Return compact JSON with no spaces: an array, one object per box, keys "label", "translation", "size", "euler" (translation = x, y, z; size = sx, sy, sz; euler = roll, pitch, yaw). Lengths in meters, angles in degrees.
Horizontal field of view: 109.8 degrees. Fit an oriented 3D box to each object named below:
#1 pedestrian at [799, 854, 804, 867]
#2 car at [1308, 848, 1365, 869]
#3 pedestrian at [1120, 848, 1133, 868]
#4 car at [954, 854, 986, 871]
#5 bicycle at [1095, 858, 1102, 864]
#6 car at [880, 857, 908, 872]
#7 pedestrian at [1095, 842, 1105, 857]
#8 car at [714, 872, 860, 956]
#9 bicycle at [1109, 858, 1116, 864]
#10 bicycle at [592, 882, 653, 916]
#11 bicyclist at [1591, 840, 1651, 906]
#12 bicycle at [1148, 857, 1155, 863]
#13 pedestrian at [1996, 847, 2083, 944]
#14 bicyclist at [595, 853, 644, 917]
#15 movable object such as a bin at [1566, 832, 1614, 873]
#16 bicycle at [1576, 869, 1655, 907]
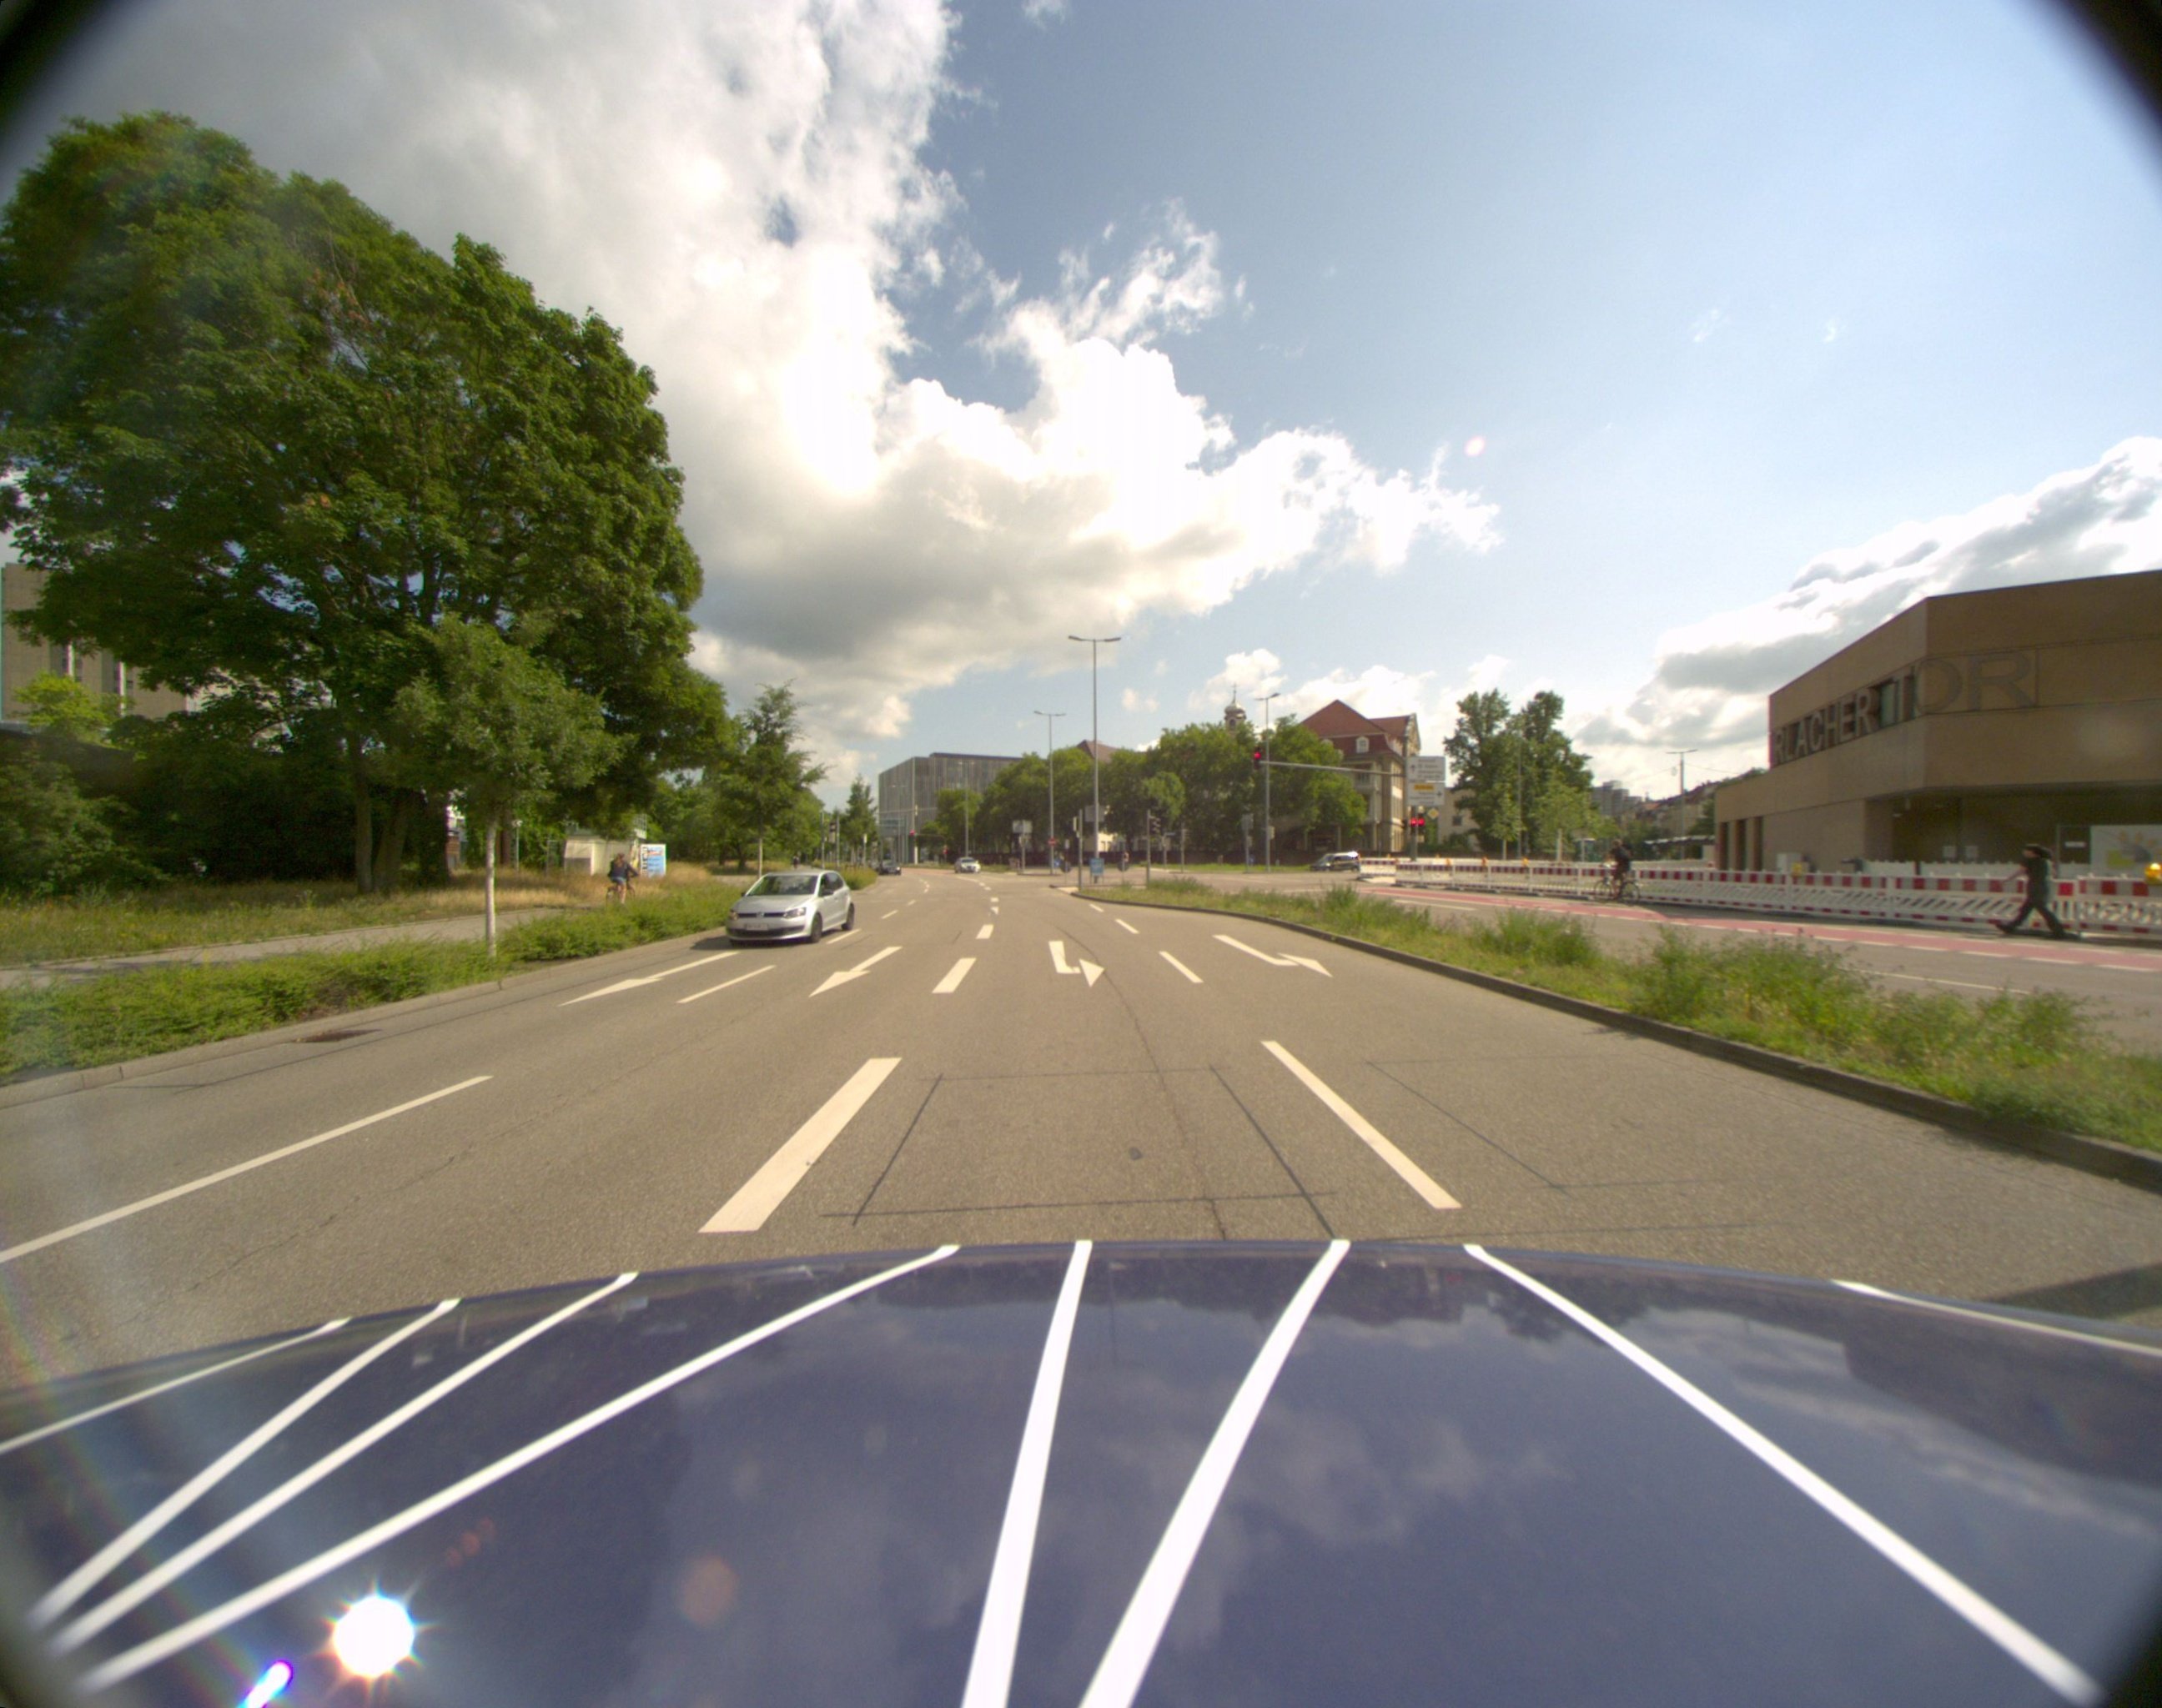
[{"label":"pedestrian","translation":[-33.997,0.825,92.347],"size":[0.543,1.597,0.523],"euler":[0,-2,-29]},{"label":"car","translation":[22.317,0.395,66.424],"size":[4.677,1.774,1.851],"euler":[0,-1,-23]},{"label":"pedestrian","translation":[4.490,0.401,74.894],"size":[0.697,1.846,1.183],"euler":[-2,-1,31]},{"label":"car","translation":[-10.677,0.767,72.979],"size":[2.064,1.434,4.771],"euler":[-2,1,-20]},{"label":"bicycle","translation":[2.551,1.004,112.957],"size":[0.481,0.843,0.975],"euler":[1,0,43]},{"label":"car","translation":[-17.373,0.978,70.400],"size":[2.002,1.369,4.153],"euler":[1,0,-20]},{"label":"pedestrian","translation":[2.214,-0.505,87.625],"size":[0.751,1.770,0.963],"euler":[-1,1,-36]},{"label":"car","translation":[-5.952,1.138,15.901],"size":[1.655,1.433,4.004],"euler":[-1,0,-3]},{"label":"bicycle","translation":[4.647,0.968,110.934],"size":[0.481,0.843,0.975],"euler":[1,0,43]},{"label":"bicycle","translation":[-12.590,1.211,20.917],"size":[0.626,0.806,1.788],"euler":[1,0,-1]},{"label":"bicyclist","translation":[15.297,0.510,21.551],"size":[0.813,1.812,1.158],"euler":[-1,1,-7]},{"label":"bicycle","translation":[9.801,0.828,106.116],"size":[0.481,0.843,0.975],"euler":[1,0,43]},{"label":"pedestrian","translation":[16.964,0.710,13.467],"size":[0.738,1.671,0.641],"euler":[0,1,-3]},{"label":"bicyclist","translation":[-12.587,0.825,20.762],"size":[0.738,1.692,0.965],"euler":[1,1,-1]},{"label":"movable object such as a bin","translation":[37.305,-0.118,55.784],"size":[1.995,2.932,4.458],"euler":[1,0,22]},{"label":"bicycle","translation":[15.271,0.954,21.776],"size":[0.618,0.996,2.017],"euler":[-1,0,-8]}]
